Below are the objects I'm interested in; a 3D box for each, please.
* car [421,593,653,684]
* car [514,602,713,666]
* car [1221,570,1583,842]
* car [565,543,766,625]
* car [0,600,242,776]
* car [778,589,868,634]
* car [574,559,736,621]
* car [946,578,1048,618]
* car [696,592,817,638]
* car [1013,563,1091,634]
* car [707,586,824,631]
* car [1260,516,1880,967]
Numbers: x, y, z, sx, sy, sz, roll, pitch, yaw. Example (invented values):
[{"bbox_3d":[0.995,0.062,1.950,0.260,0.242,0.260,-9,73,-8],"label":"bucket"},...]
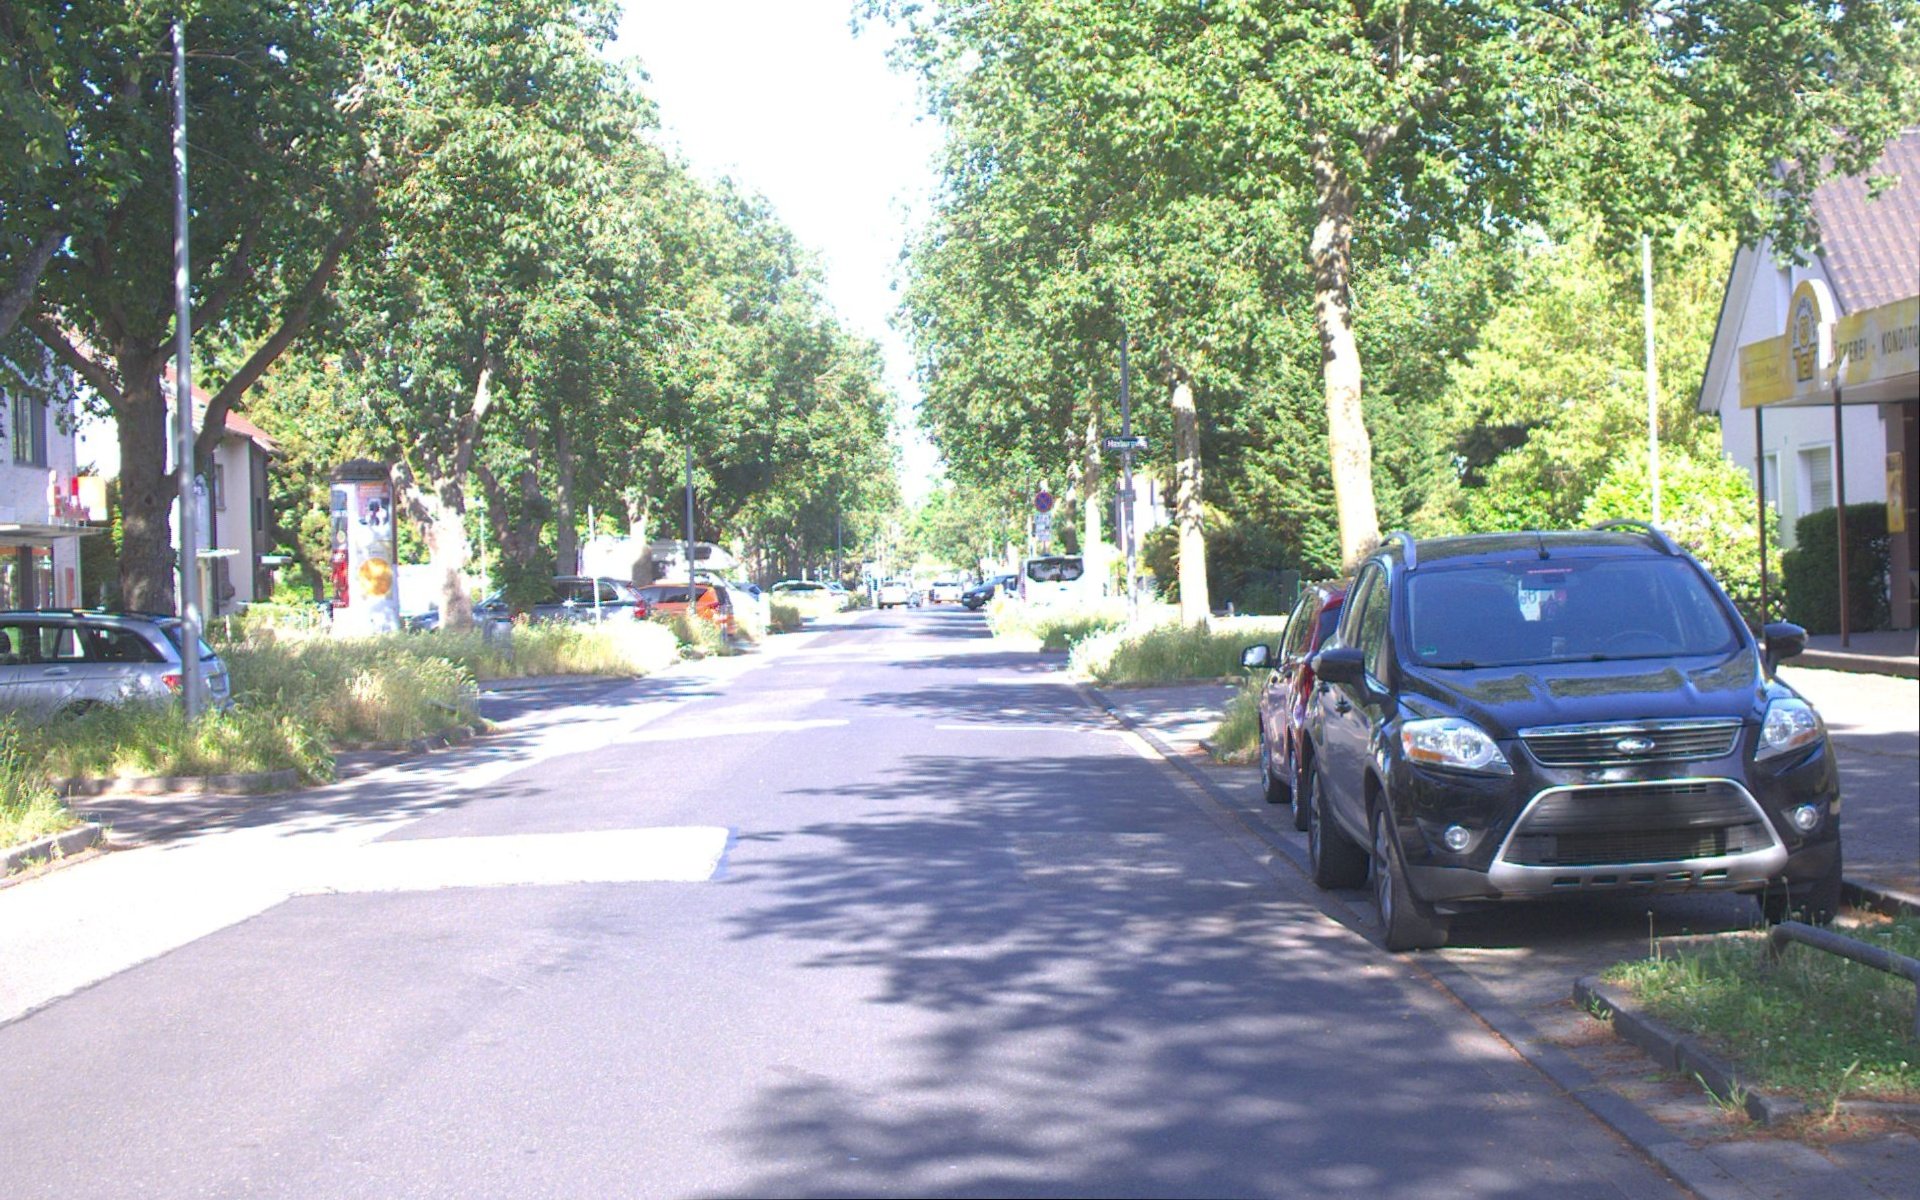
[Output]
[{"bbox_3d":[-8.486,0.765,69.280,4.545,1.759,2.000,0,2,-5],"label":"car"},{"bbox_3d":[-7.575,0.734,75.327,4.286,1.310,1.909,0,2,-5],"label":"car"},{"bbox_3d":[2.678,0.611,21.623,1.697,1.474,3.888,-3,0,0],"label":"car"},{"bbox_3d":[-8.282,-0.470,97.125,5.498,2.240,2.517,0,2,-1],"label":"car"},{"bbox_3d":[-9.078,0.780,31.654,4.554,1.506,1.841,0,2,0],"label":"car"},{"bbox_3d":[-6.366,0.508,160.296,3.987,2.006,2.000,0,2,4],"label":"car"},{"bbox_3d":[-7.760,-0.252,87.663,3.875,1.474,1.894,1,0,3],"label":"car"},{"bbox_3d":[1.581,-0.104,147.074,3.986,1.638,2.001,0,2,-15],"label":"car"},{"bbox_3d":[-6.538,0.466,110.465,3.702,1.441,1.664,0,0,4],"label":"car"},{"bbox_3d":[2.322,-0.042,88.040,1.903,1.768,4.301,0,0,0],"label":"car"},{"bbox_3d":[-6.447,0.275,114.065,3.702,1.441,1.664,0,0,4],"label":"car"},{"bbox_3d":[2.498,0.551,15.222,1.853,1.620,4.469,-3,0,0],"label":"car"}]
